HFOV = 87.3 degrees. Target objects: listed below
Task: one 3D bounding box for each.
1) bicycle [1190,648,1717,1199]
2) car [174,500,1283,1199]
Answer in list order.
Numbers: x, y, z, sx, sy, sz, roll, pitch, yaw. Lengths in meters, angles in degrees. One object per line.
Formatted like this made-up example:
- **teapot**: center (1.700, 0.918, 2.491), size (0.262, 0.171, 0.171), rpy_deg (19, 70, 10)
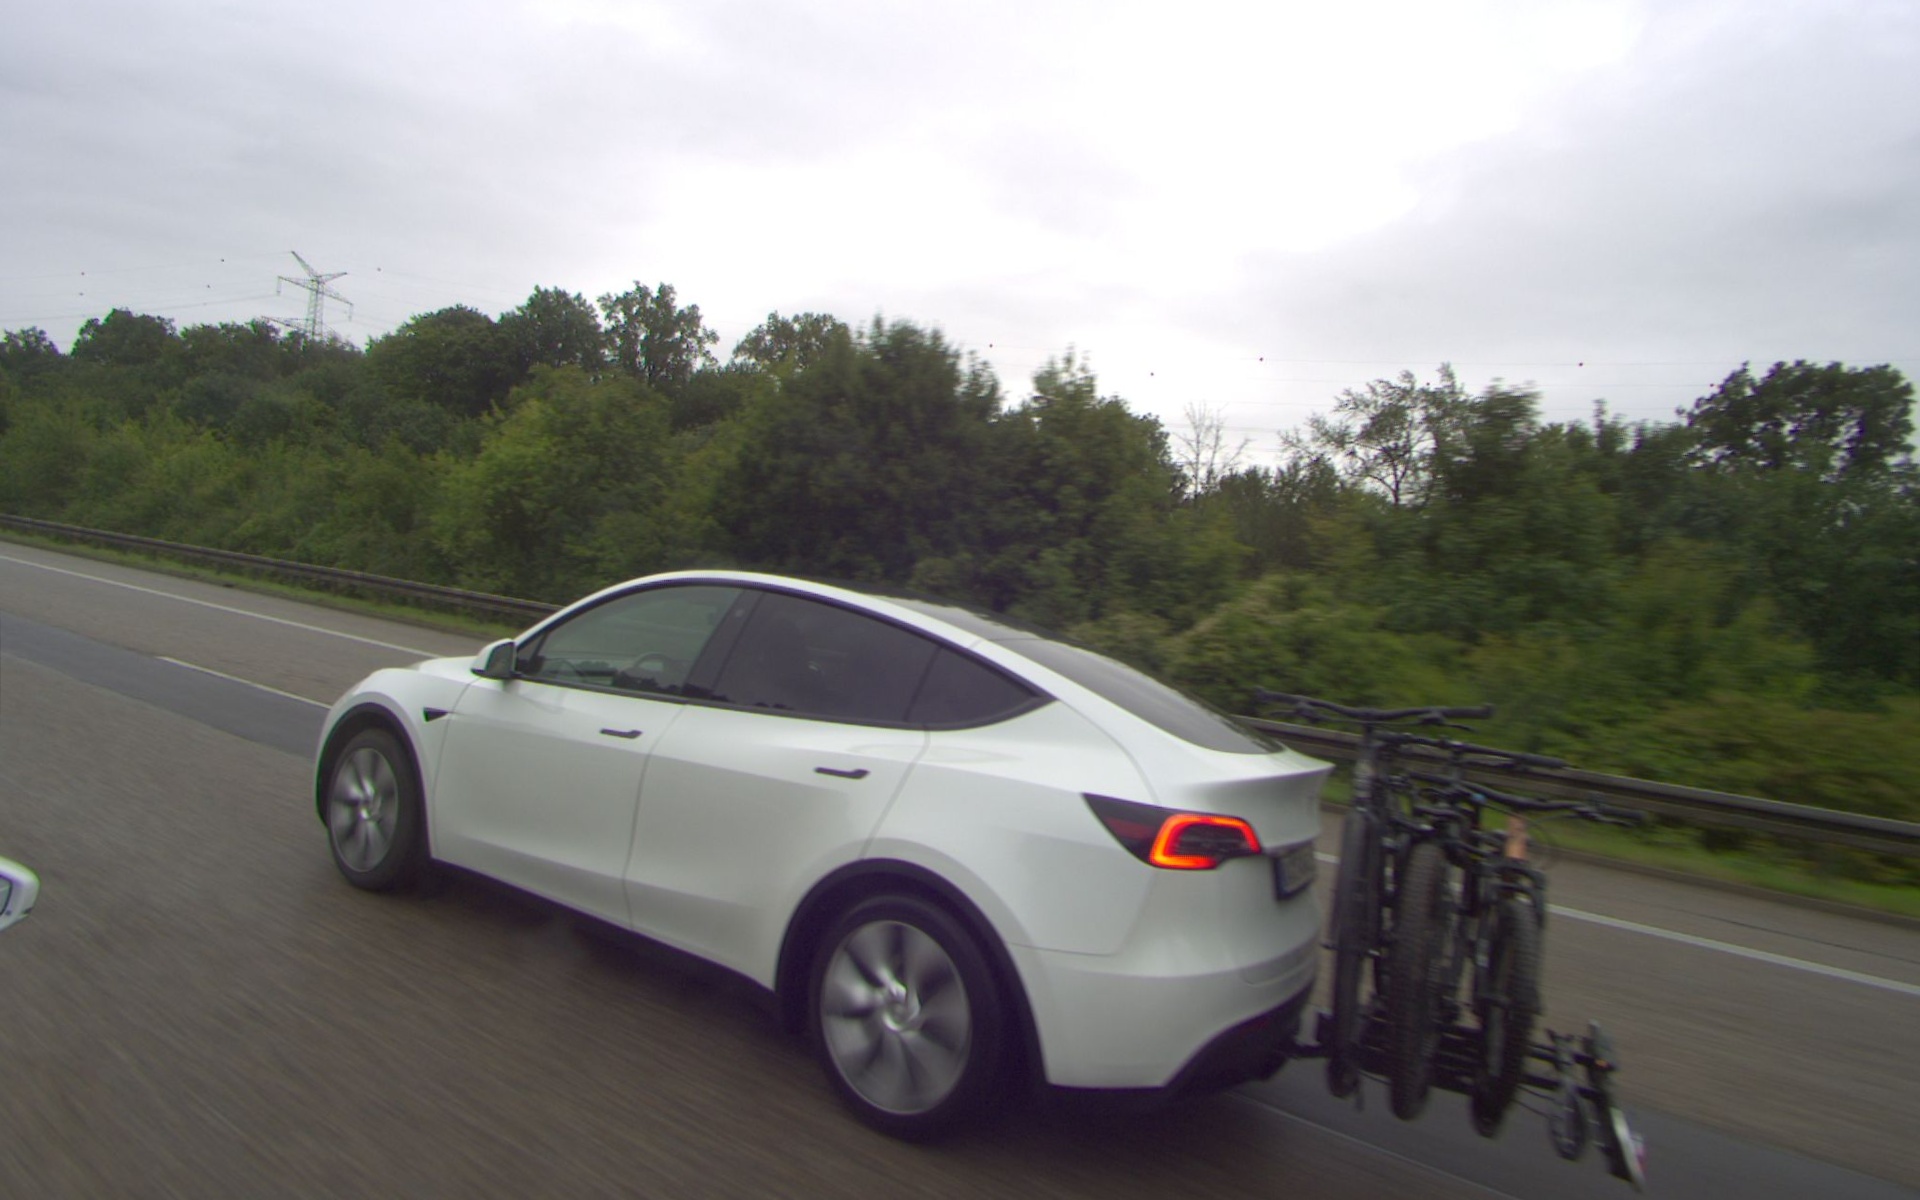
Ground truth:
- **bicycle**: center (1.404, 0.770, 2.874), size (0.898, 1.103, 1.757), rpy_deg (6, -2, 30)
- **car**: center (-1.296, 0.612, 4.619), size (4.880, 1.586, 1.864), rpy_deg (7, -1, 30)
